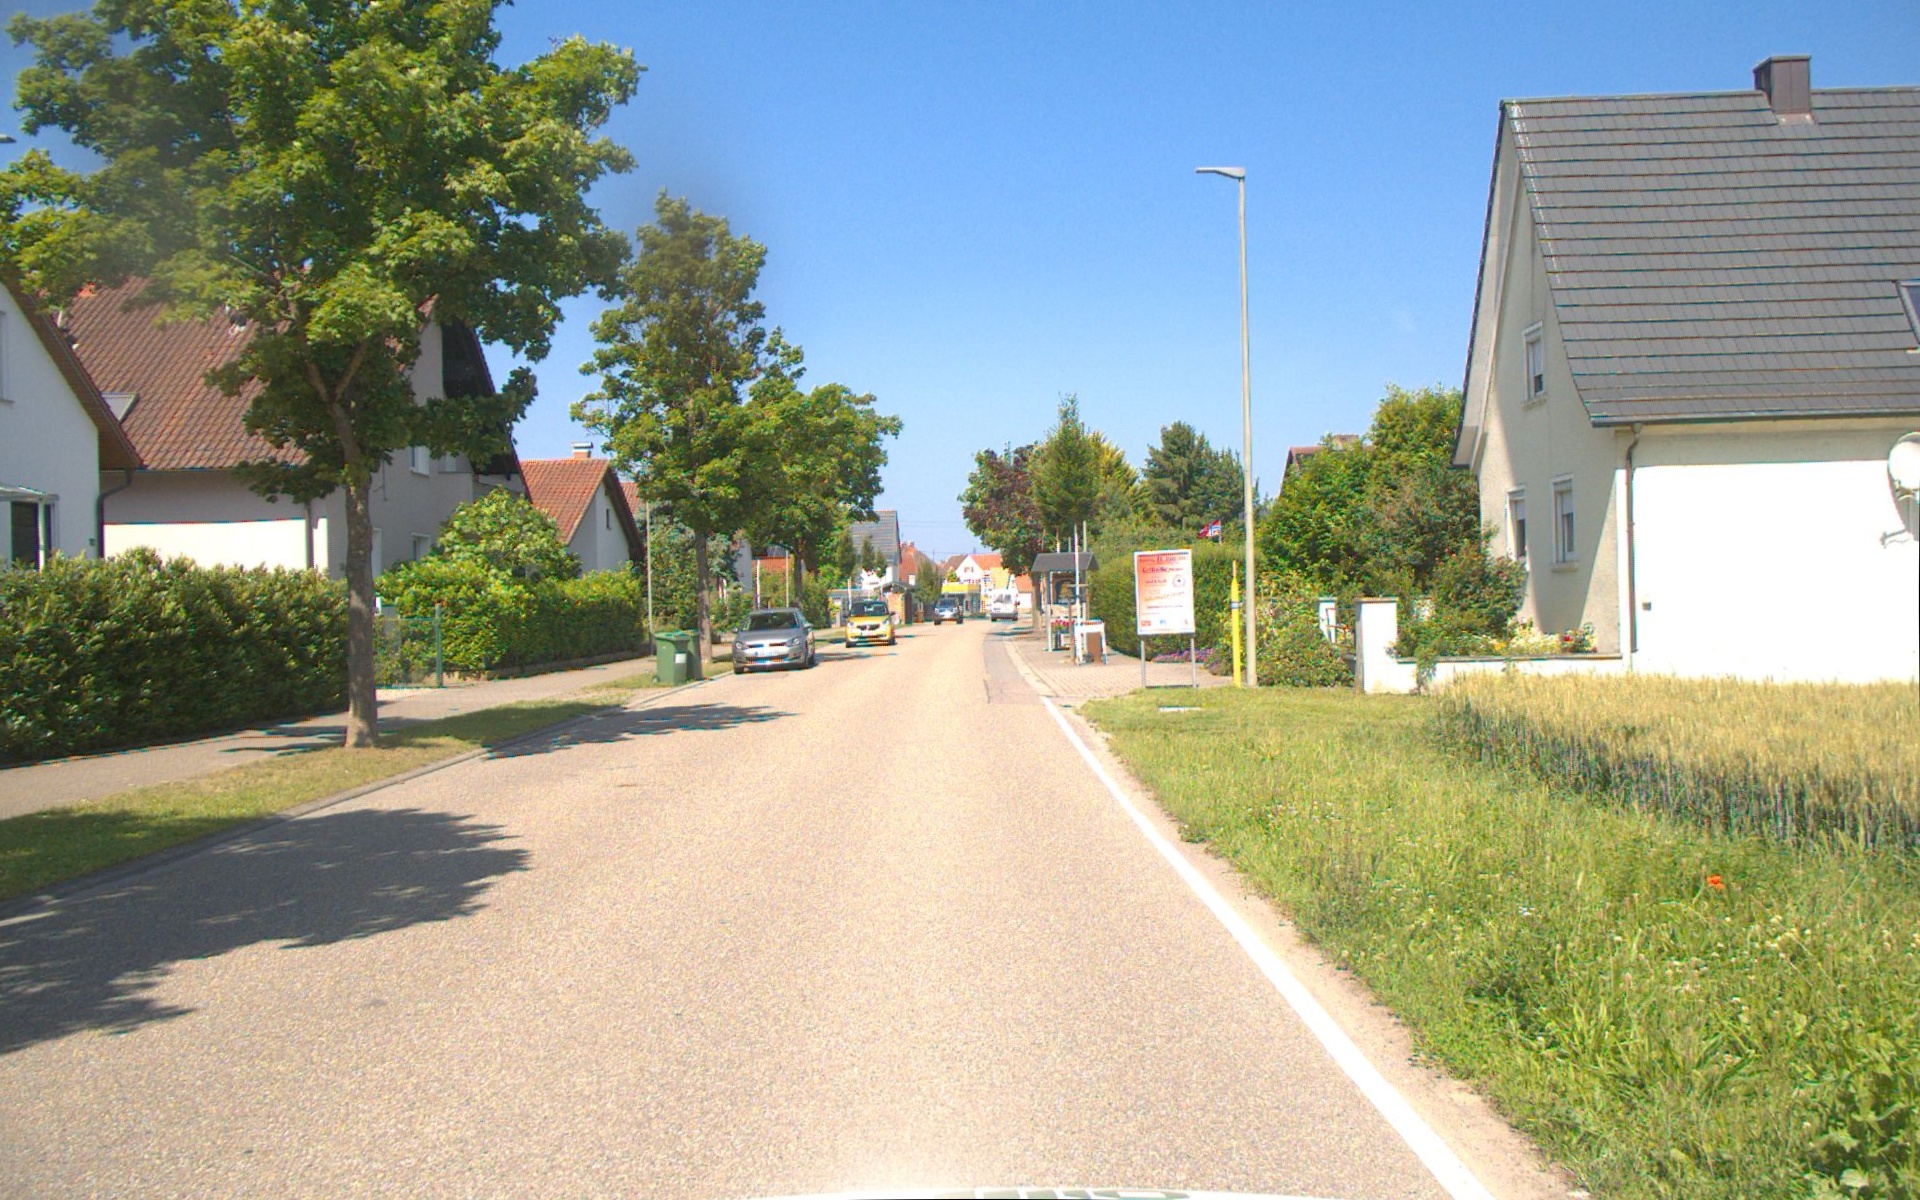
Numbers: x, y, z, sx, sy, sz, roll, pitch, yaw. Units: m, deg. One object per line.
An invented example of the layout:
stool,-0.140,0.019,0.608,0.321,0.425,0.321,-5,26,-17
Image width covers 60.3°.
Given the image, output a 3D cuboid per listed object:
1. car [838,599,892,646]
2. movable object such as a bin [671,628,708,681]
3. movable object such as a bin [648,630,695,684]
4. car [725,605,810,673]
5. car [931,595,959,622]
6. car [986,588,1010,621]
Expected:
car,-3.304,0.767,58.150,1.632,1.550,3.442,-3,0,0
movable object such as a bin,-5.746,1.157,35.140,0.562,1.097,0.599,-2,0,13
movable object such as a bin,-6.019,1.189,34.508,0.699,1.097,0.639,-2,0,25
car,-4.585,0.892,39.913,1.614,1.448,4.079,-4,0,-2
car,-1.035,0.552,113.711,1.798,1.783,3.794,-2,0,-2
car,3.064,0.360,132.581,1.701,2.474,4.376,-2,0,3
